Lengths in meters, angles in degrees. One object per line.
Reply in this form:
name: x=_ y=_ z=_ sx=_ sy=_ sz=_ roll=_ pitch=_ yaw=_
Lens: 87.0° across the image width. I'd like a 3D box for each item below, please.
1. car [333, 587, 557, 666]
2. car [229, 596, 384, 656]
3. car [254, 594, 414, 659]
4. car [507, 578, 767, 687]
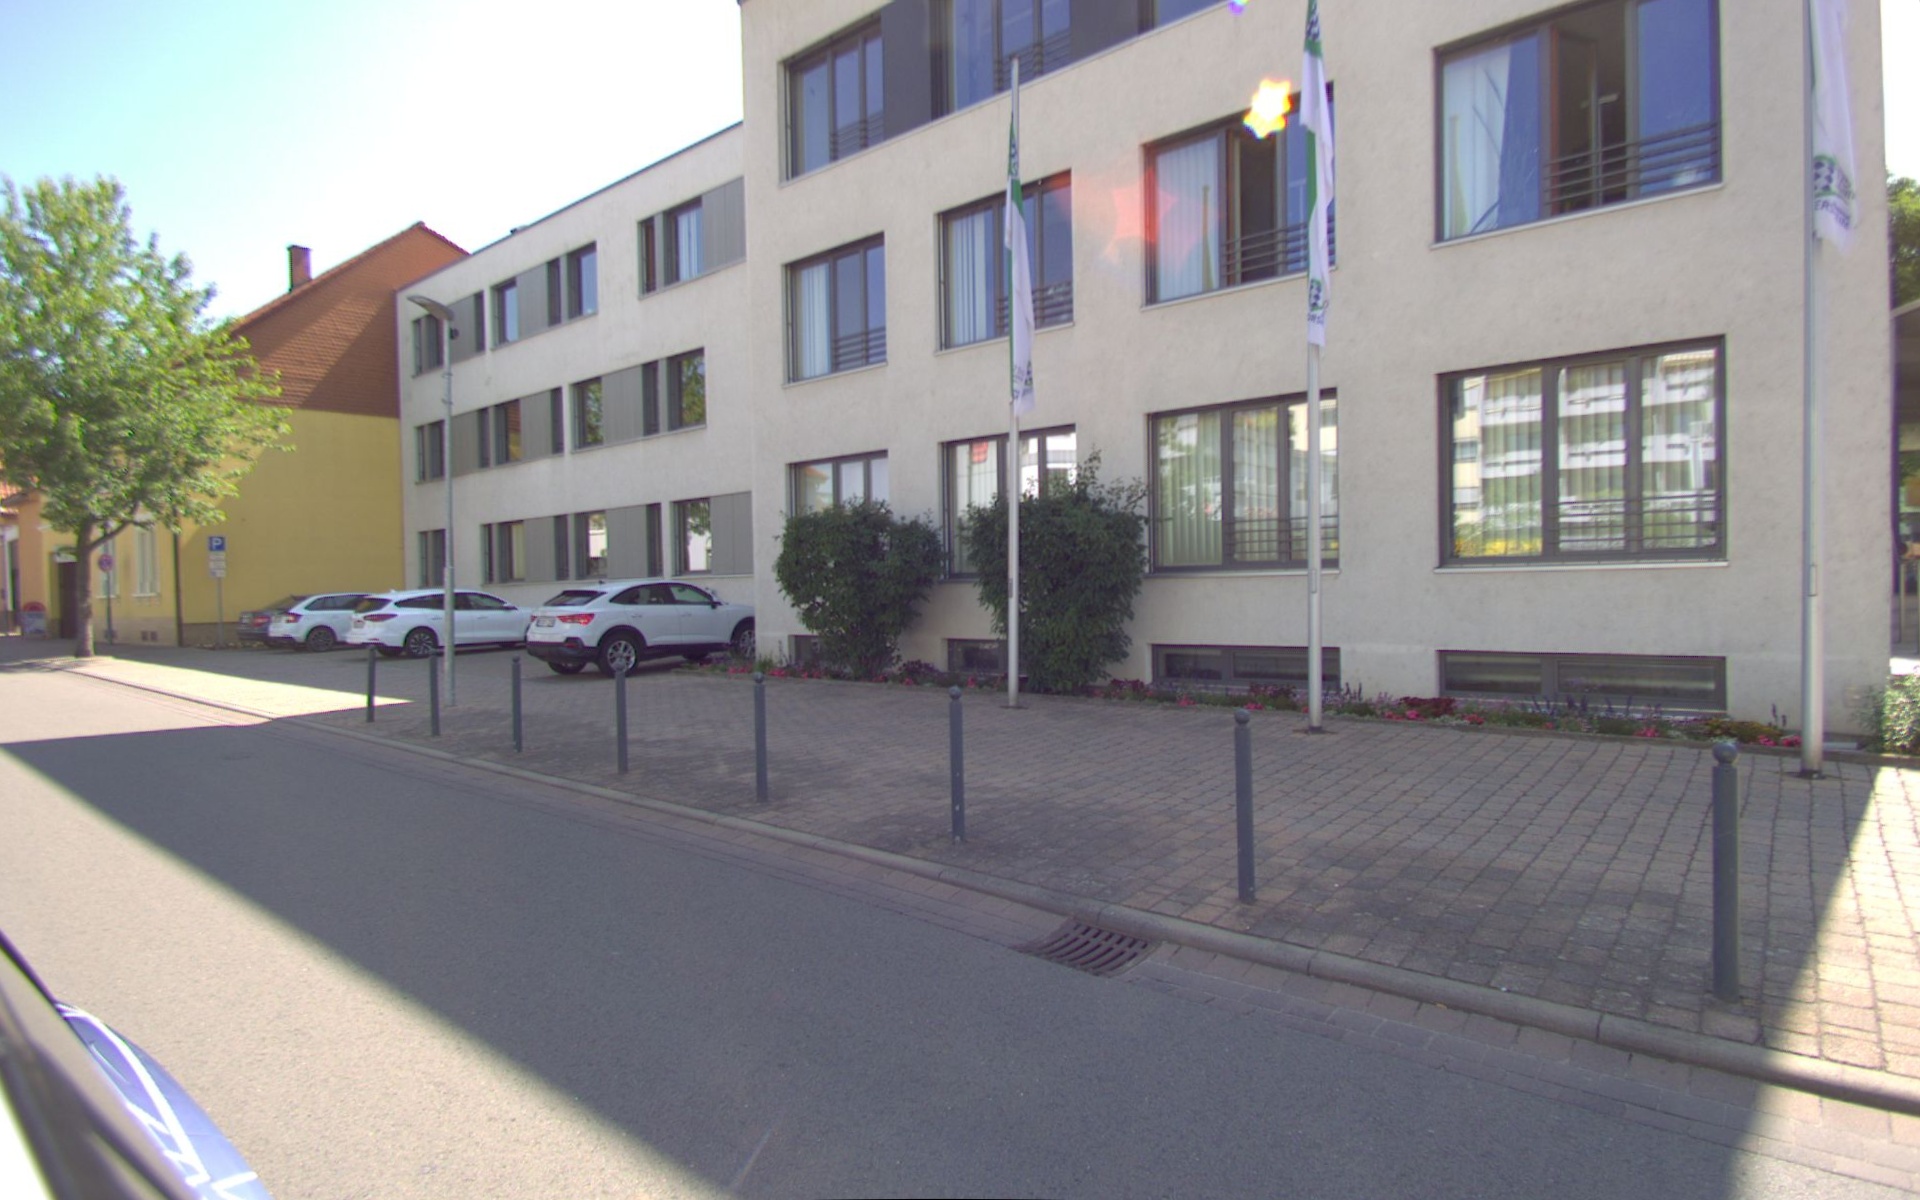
car: x=-11.598 y=0.534 z=23.032 sx=1.512 sy=1.490 sz=4.270 roll=0 pitch=2 yaw=40
car: x=-17.614 y=0.667 z=27.367 sx=1.373 sy=1.412 sz=3.218 roll=-1 pitch=2 yaw=38
car: x=-15.961 y=0.631 z=25.901 sx=1.642 sy=1.461 sz=3.099 roll=-1 pitch=2 yaw=41
car: x=-5.458 y=0.470 z=17.498 sx=1.747 sy=1.559 sz=3.949 roll=-1 pitch=2 yaw=38
